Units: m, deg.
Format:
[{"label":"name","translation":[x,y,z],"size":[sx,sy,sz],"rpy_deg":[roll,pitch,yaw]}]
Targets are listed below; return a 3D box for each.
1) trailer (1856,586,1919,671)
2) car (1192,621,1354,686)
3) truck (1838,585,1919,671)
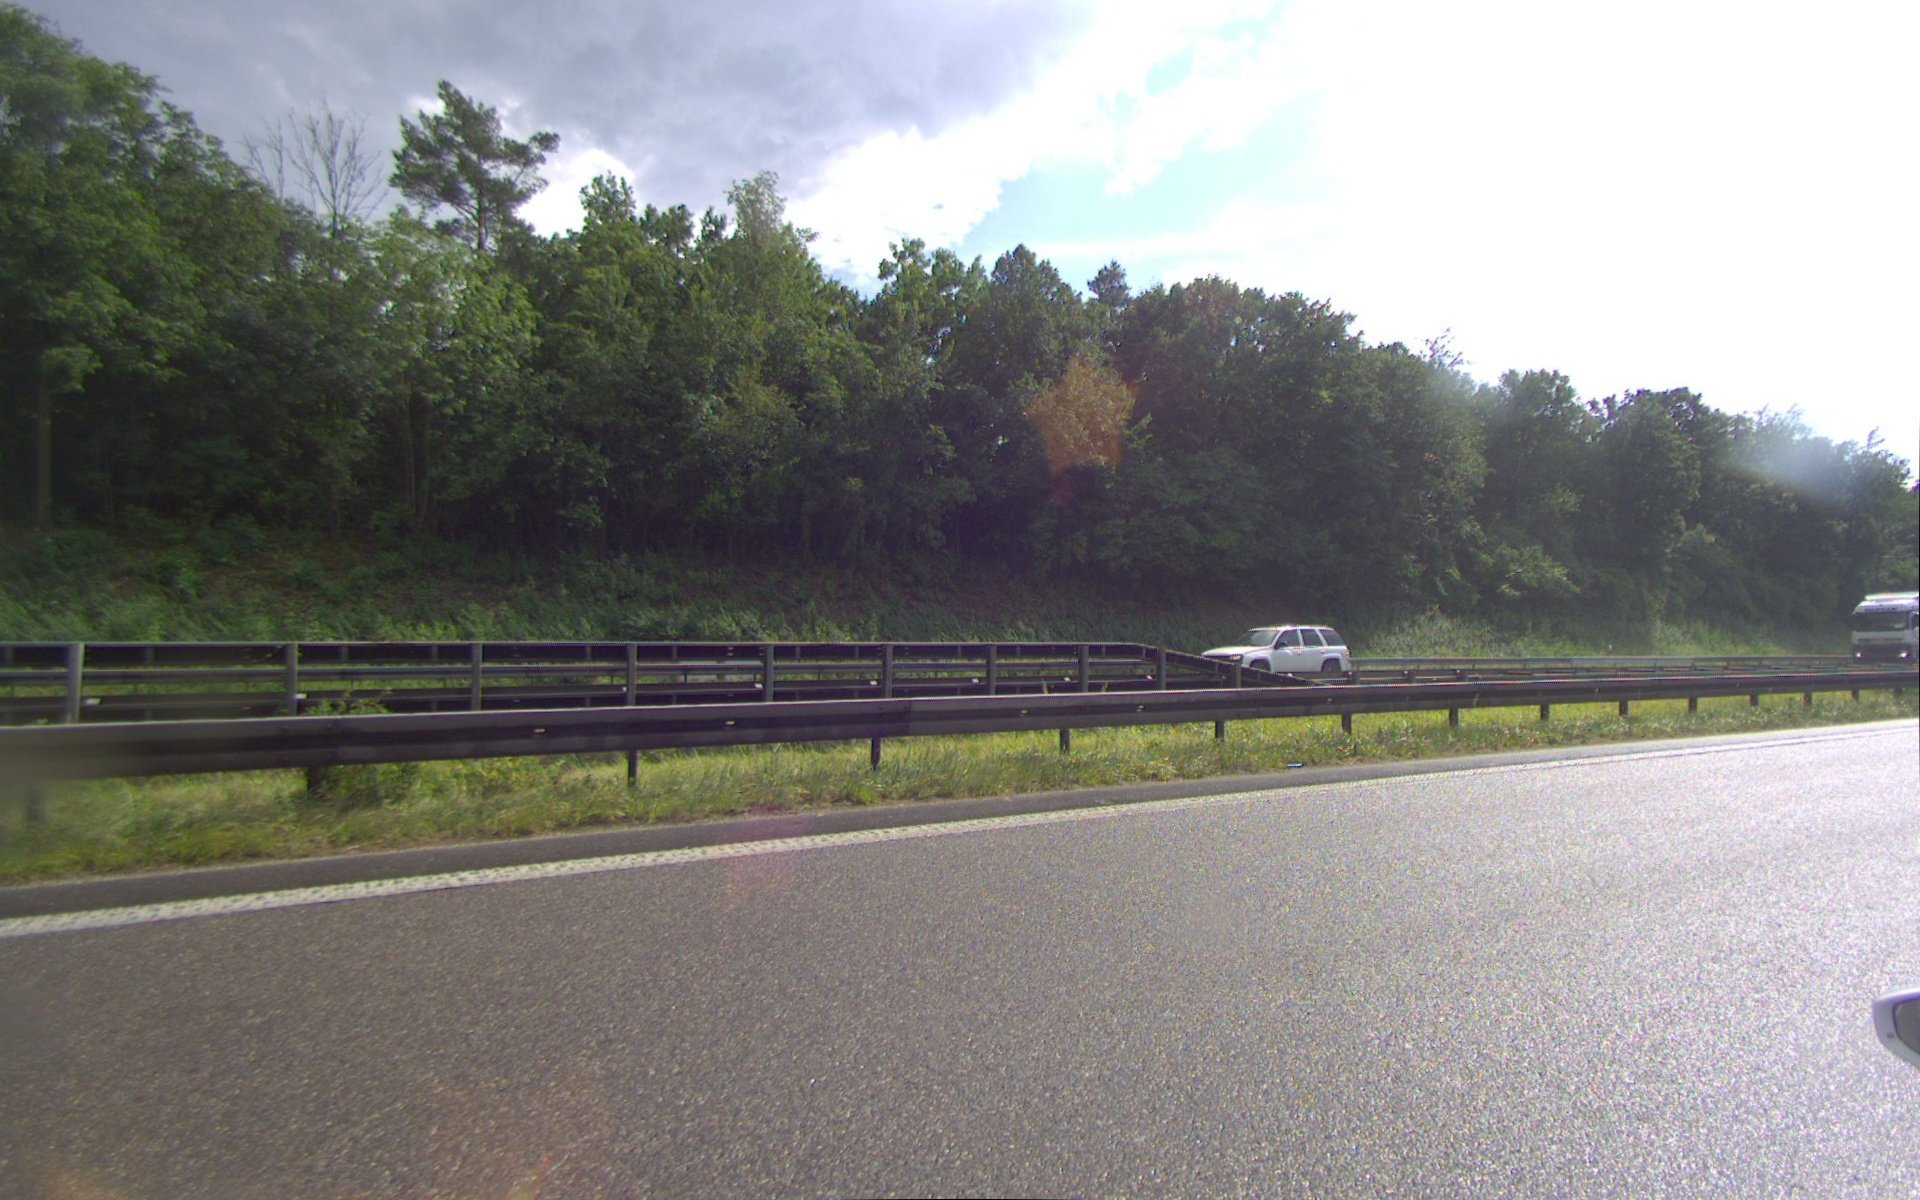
[{"label":"trailer","translation":[55.893,1.668,57.430],"size":[13.929,4.431,2.849],"rpy_deg":[2,0,-31]},{"label":"car","translation":[8.967,1.508,28.676],"size":[4.577,1.685,1.820],"rpy_deg":[2,0,-31]},{"label":"truck","translation":[50.784,1.507,54.368],"size":[6.789,4.431,2.849],"rpy_deg":[2,0,-31]}]
